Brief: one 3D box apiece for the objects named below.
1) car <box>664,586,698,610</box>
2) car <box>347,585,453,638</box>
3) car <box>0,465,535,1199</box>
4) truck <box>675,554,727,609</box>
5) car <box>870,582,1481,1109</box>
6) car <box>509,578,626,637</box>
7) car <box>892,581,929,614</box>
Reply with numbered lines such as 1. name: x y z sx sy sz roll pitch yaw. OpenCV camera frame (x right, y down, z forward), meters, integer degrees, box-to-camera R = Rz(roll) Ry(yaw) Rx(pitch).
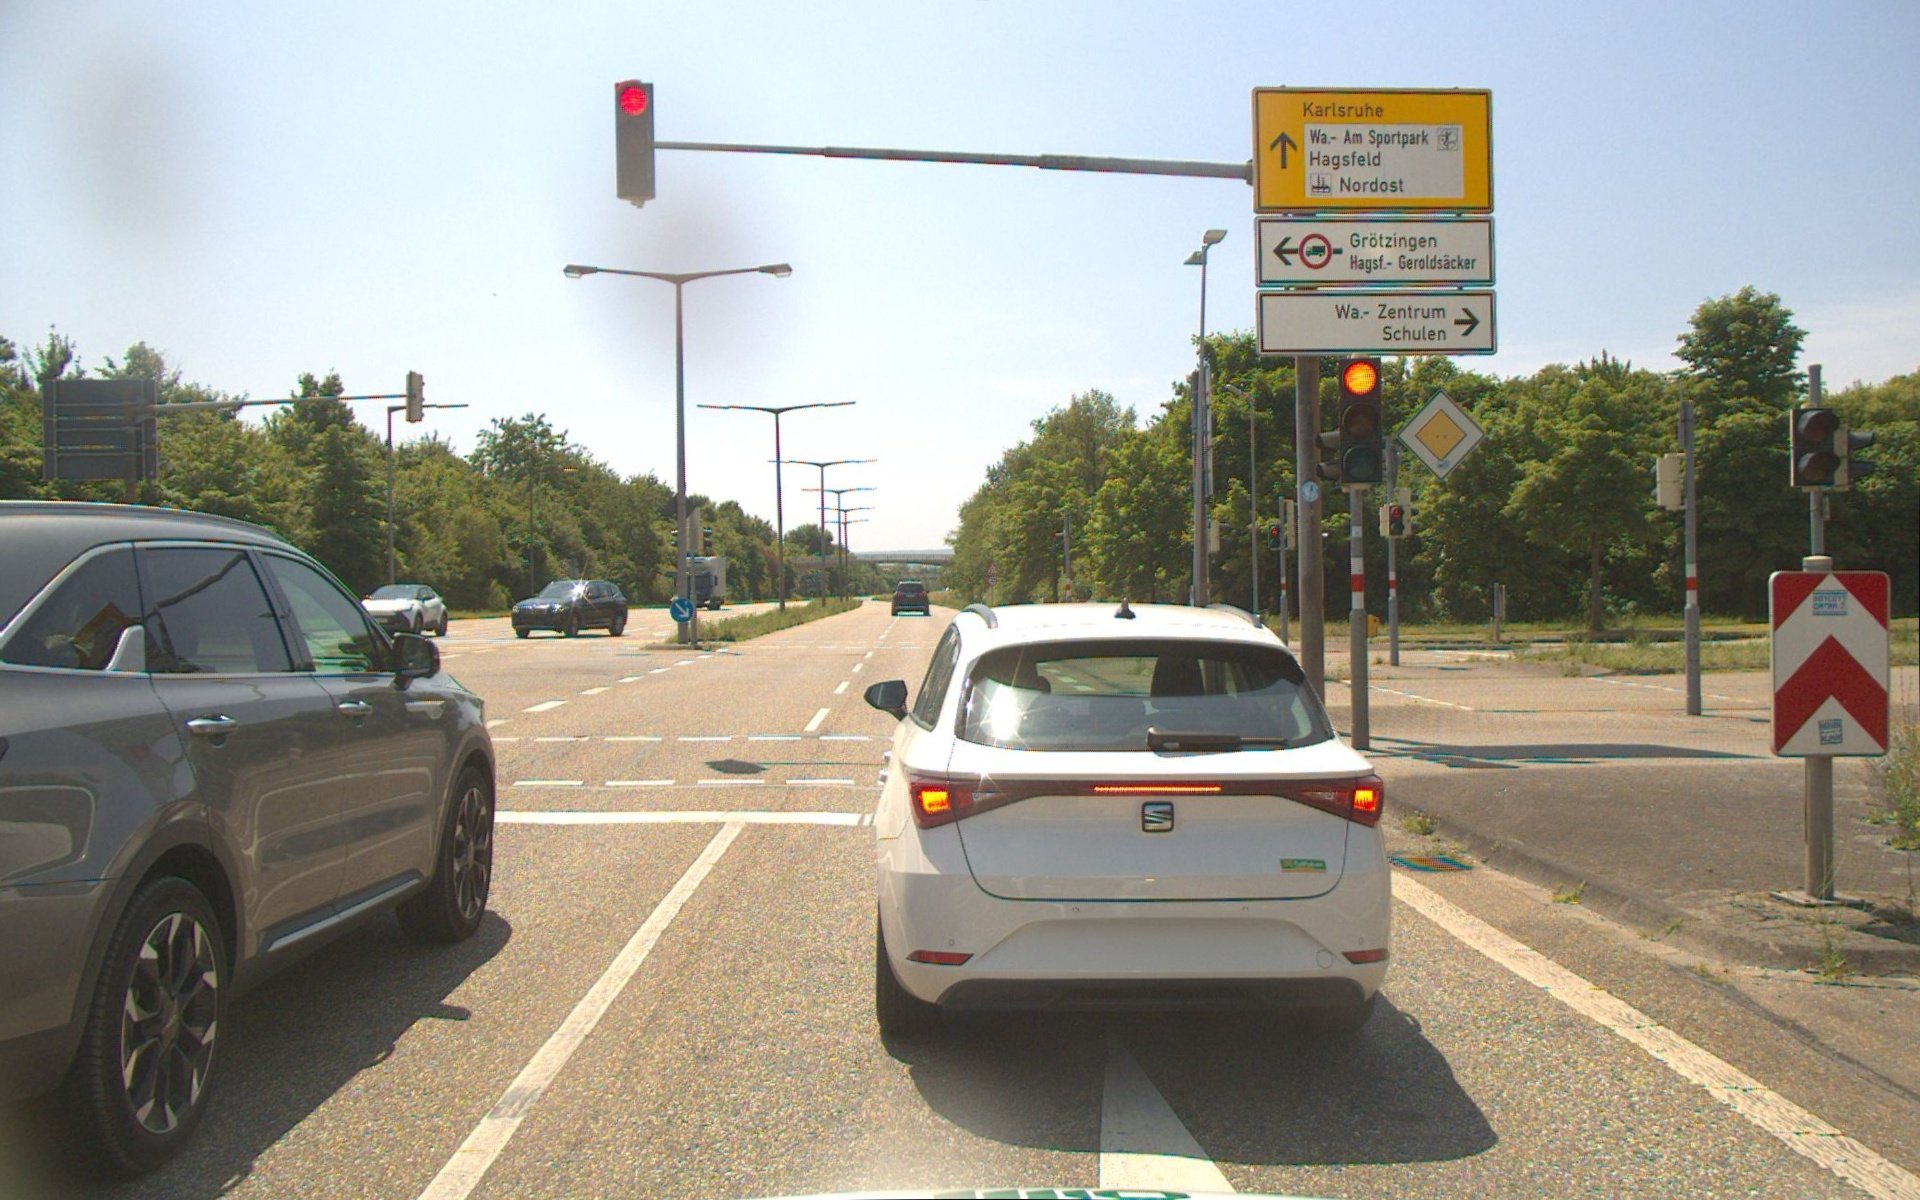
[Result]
1. car: -21.388 -0.161 126.956 1.785 1.762 4.925 -1 1 -1
2. car: -16.603 0.314 49.230 1.785 1.481 4.168 -1 1 -1
3. car: -2.866 0.572 5.471 1.767 1.691 4.643 -1 0 -1
4. truck: -17.871 -1.278 114.454 2.633 3.633 7.266 0 1 -1
5. car: 0.583 0.699 6.488 1.699 1.453 3.693 1 0 -1
6. car: -11.804 0.186 50.078 1.670 1.692 4.226 -1 1 14
7. car: -2.687 -0.161 90.554 1.816 1.738 4.000 -1 1 1
